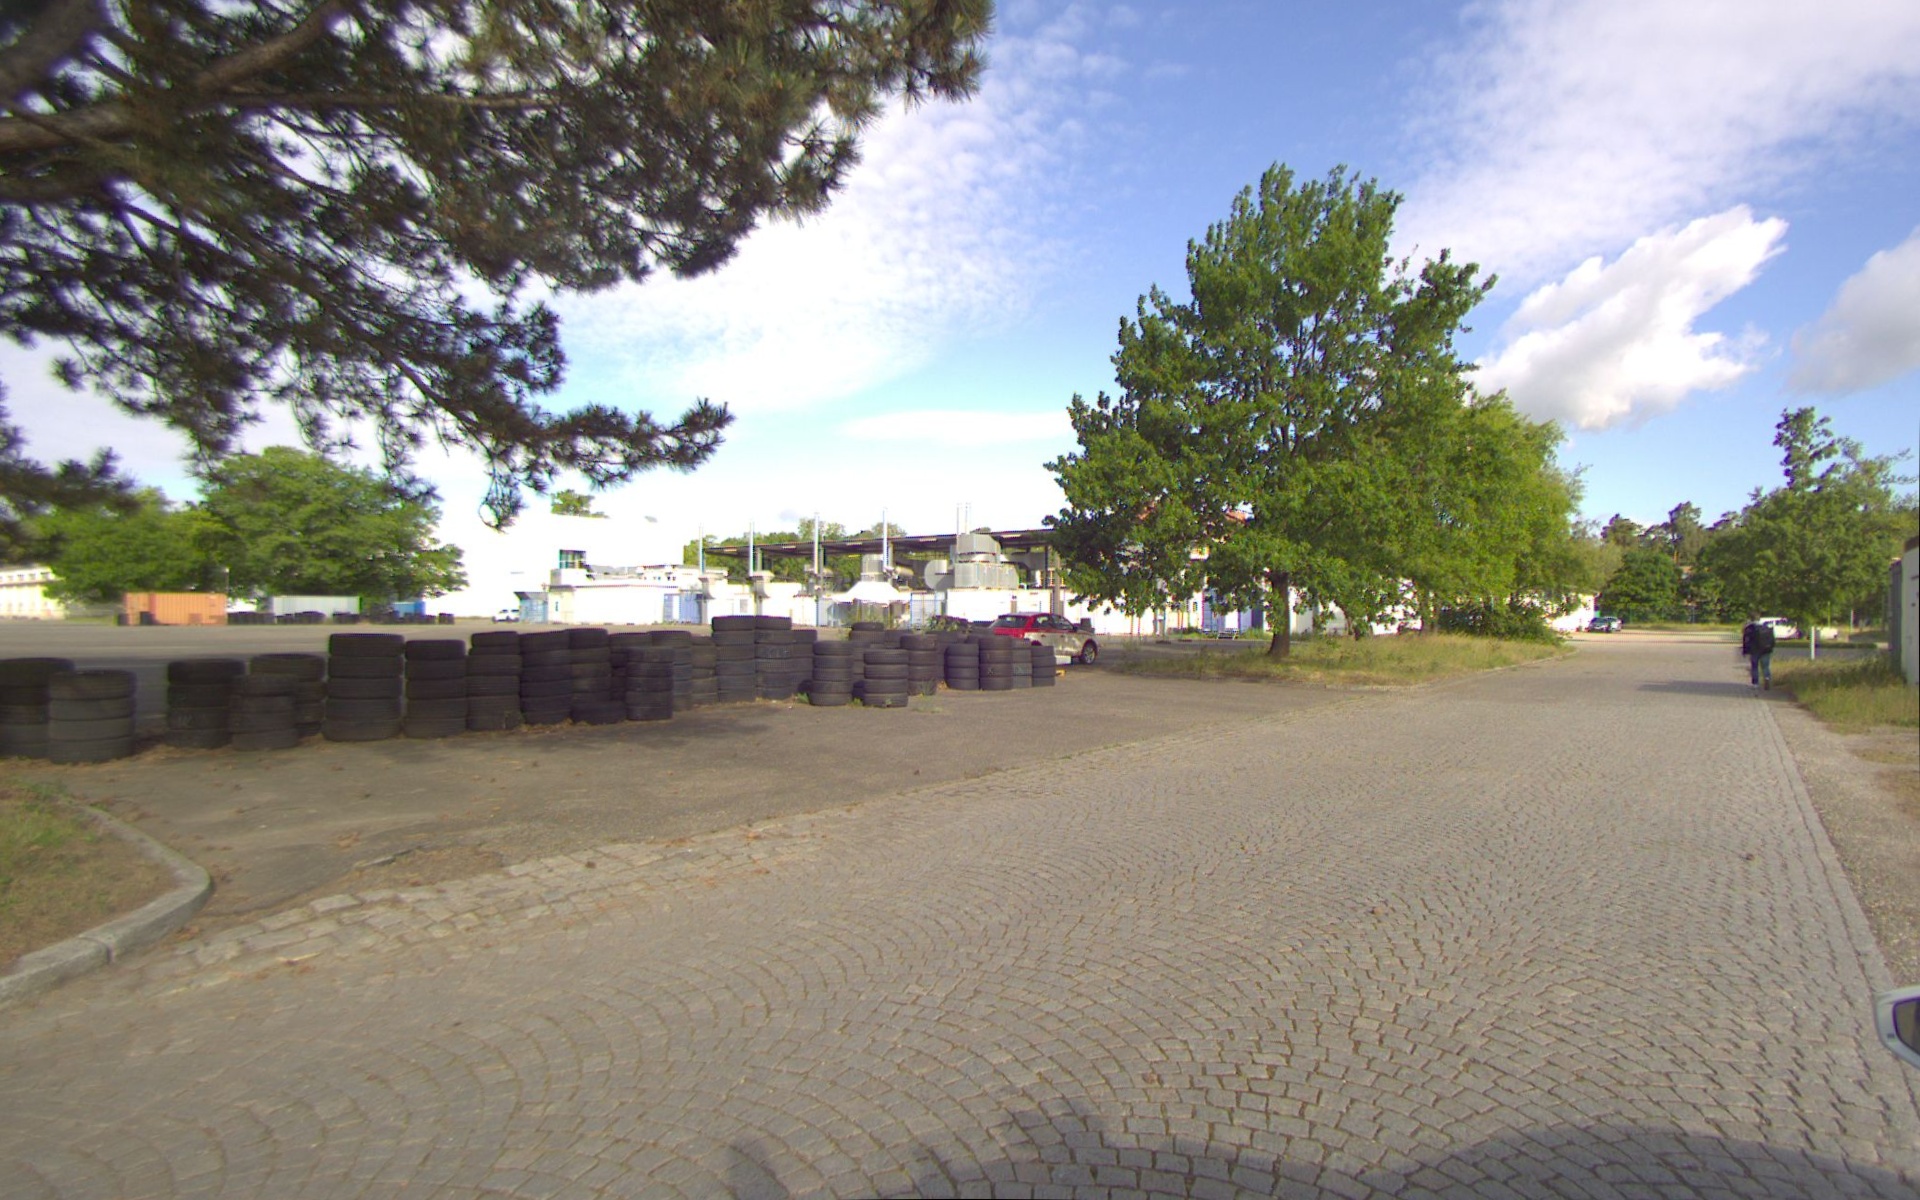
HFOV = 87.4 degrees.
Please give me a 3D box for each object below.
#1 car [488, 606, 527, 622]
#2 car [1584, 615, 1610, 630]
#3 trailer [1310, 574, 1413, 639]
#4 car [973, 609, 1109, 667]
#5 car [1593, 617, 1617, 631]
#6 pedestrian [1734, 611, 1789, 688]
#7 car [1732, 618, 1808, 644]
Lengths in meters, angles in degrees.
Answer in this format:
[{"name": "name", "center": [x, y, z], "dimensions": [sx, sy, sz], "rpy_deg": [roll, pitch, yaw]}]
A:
[{"name": "car", "center": [-48.692, 1.500, 107.988], "dimensions": [4.473, 1.585, 1.869], "rpy_deg": [0, -1, 36]}, {"name": "car", "center": [60.734, 2.151, 95.847], "dimensions": [1.965, 1.389, 3.991], "rpy_deg": [0, -1, 31]}, {"name": "trailer", "center": [23.818, 0.437, 59.242], "dimensions": [2.882, 3.517, 9.857], "rpy_deg": [0, -1, 39]}, {"name": "car", "center": [2.331, 1.015, 28.100], "dimensions": [1.704, 1.483, 3.976], "rpy_deg": [0, -1, 43]}, {"name": "car", "center": [66.835, 2.469, 104.069], "dimensions": [1.965, 1.394, 3.991], "rpy_deg": [0, -1, 31]}, {"name": "pedestrian", "center": [16.978, 1.030, 21.294], "dimensions": [0.854, 1.579, 1.024], "rpy_deg": [0, -1, 36]}, {"name": "car", "center": [55.814, 2.096, 69.251], "dimensions": [3.944, 1.665, 1.989], "rpy_deg": [0, -1, 43]}]
